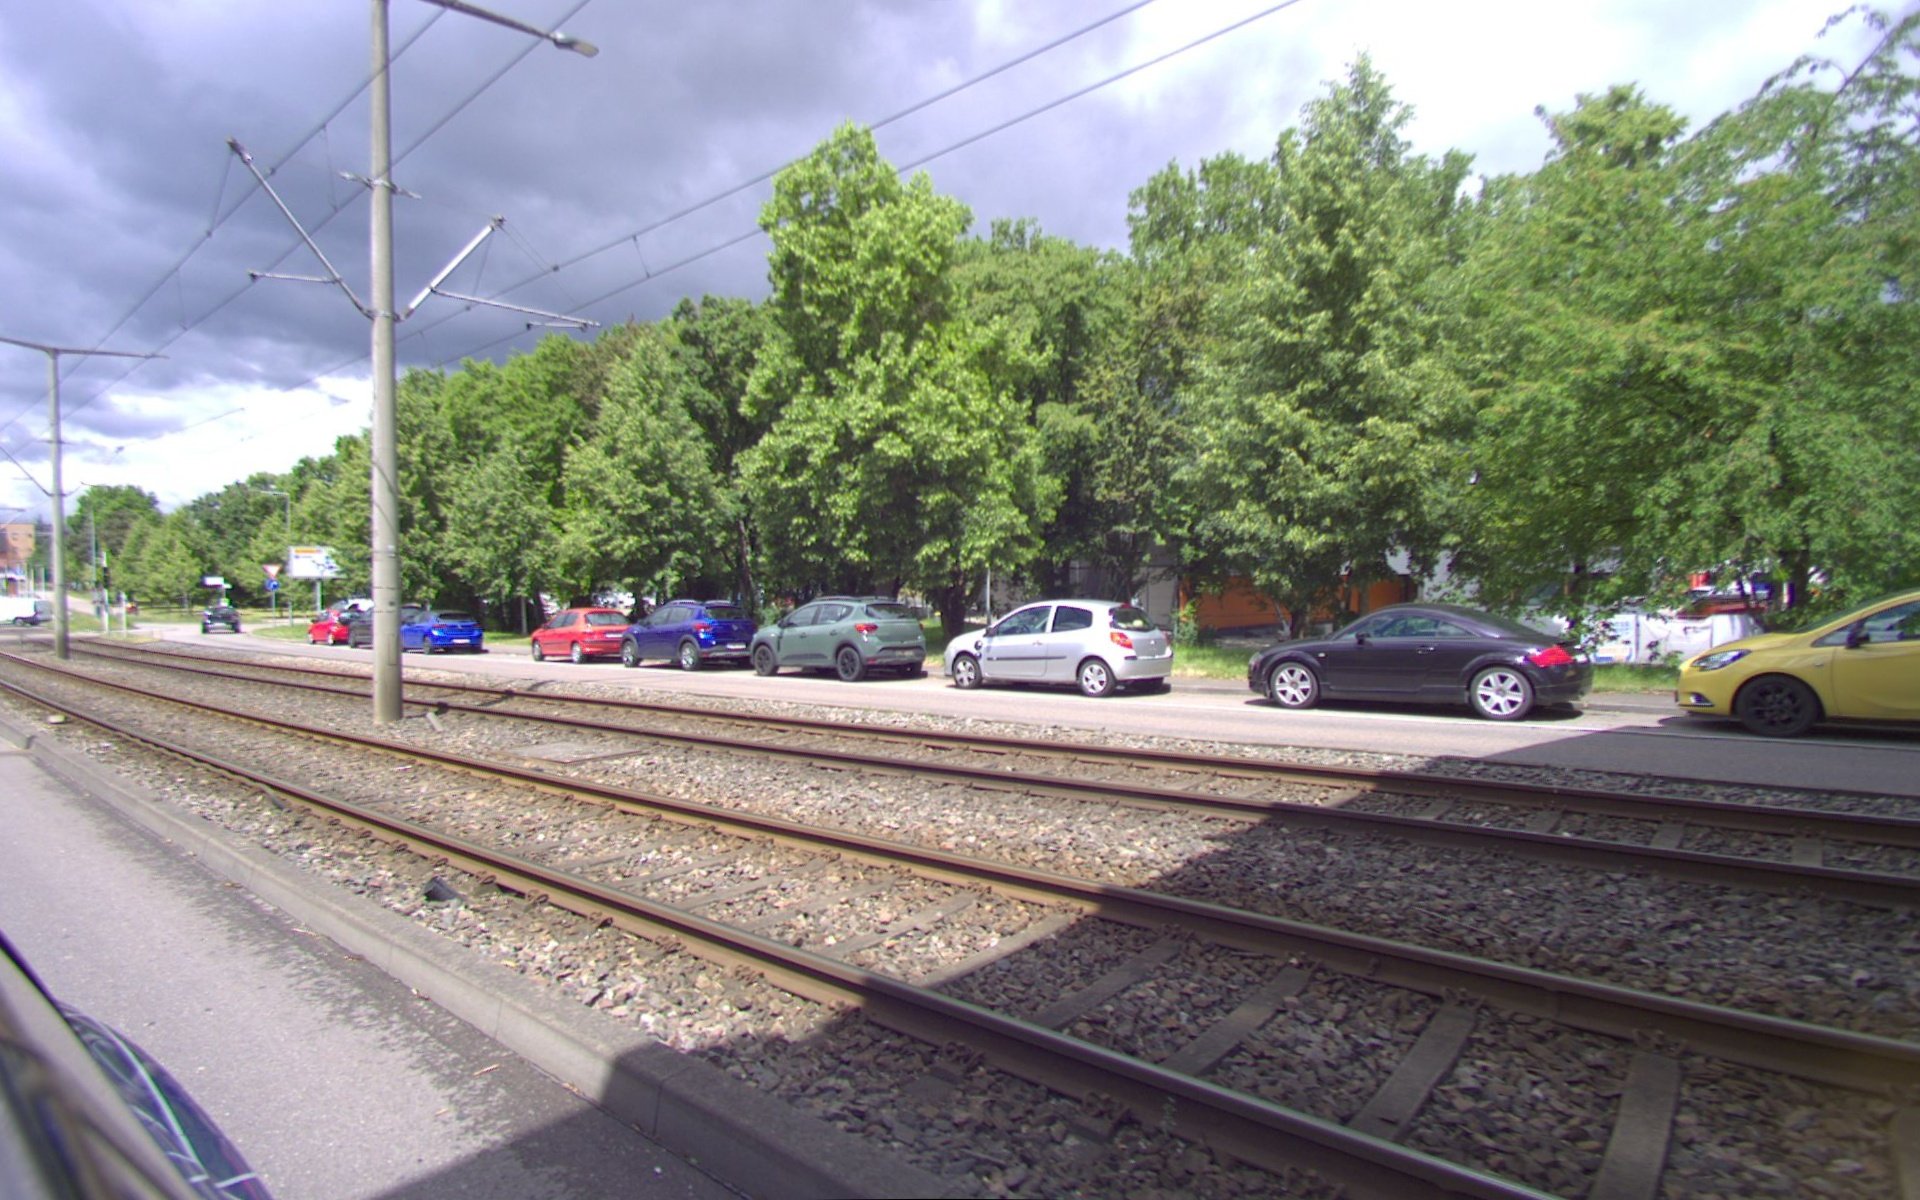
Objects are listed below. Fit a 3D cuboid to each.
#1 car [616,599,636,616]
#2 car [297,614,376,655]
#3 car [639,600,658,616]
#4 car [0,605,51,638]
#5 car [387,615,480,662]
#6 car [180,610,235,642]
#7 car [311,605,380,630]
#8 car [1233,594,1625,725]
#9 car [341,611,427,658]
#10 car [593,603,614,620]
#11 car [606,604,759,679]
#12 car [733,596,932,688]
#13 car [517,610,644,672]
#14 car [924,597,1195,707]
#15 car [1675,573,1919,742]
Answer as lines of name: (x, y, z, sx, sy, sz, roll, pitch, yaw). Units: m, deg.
car: (-32.264, 0.707, 97.862, 1.728, 1.430, 4.012, -2, 2, -16)
car: (-25.533, 1.384, 41.407, 3.658, 1.462, 1.597, 1, 3, 39)
car: (-30.297, 0.761, 98.434, 1.728, 1.430, 4.012, -2, 2, -16)
car: (-63.957, 1.500, 67.099, 5.145, 2.033, 1.887, -2, 2, -18)
car: (-17.640, 1.260, 33.851, 4.009, 1.472, 1.595, -1, -2, 44)
car: (-41.057, 1.385, 55.201, 3.999, 1.585, 1.596, 1, 3, 42)
car: (-47.541, 1.331, 78.350, 1.732, 1.702, 4.316, 0, 2, 24)
car: (5.631, 0.665, 12.522, 4.128, 1.370, 1.495, -2, -1, 43)
car: (-21.381, 1.251, 37.499, 4.374, 1.617, 1.563, -1, -1, 43)
car: (-34.418, 1.097, 97.787, 1.728, 1.430, 4.012, -2, 2, -16)
car: (-6.572, 0.932, 23.730, 4.160, 1.608, 1.540, -2, -2, 43)
car: (-2.584, 0.794, 19.926, 4.125, 1.635, 1.624, -1, -2, 43)
car: (-10.268, 1.075, 27.243, 4.048, 1.505, 1.595, -2, 0, 44)
car: (1.507, 0.768, 16.377, 4.190, 1.505, 1.577, -1, 2, 41)
car: (9.188, 0.493, 9.482, 3.899, 1.461, 1.671, 1, 3, 43)
